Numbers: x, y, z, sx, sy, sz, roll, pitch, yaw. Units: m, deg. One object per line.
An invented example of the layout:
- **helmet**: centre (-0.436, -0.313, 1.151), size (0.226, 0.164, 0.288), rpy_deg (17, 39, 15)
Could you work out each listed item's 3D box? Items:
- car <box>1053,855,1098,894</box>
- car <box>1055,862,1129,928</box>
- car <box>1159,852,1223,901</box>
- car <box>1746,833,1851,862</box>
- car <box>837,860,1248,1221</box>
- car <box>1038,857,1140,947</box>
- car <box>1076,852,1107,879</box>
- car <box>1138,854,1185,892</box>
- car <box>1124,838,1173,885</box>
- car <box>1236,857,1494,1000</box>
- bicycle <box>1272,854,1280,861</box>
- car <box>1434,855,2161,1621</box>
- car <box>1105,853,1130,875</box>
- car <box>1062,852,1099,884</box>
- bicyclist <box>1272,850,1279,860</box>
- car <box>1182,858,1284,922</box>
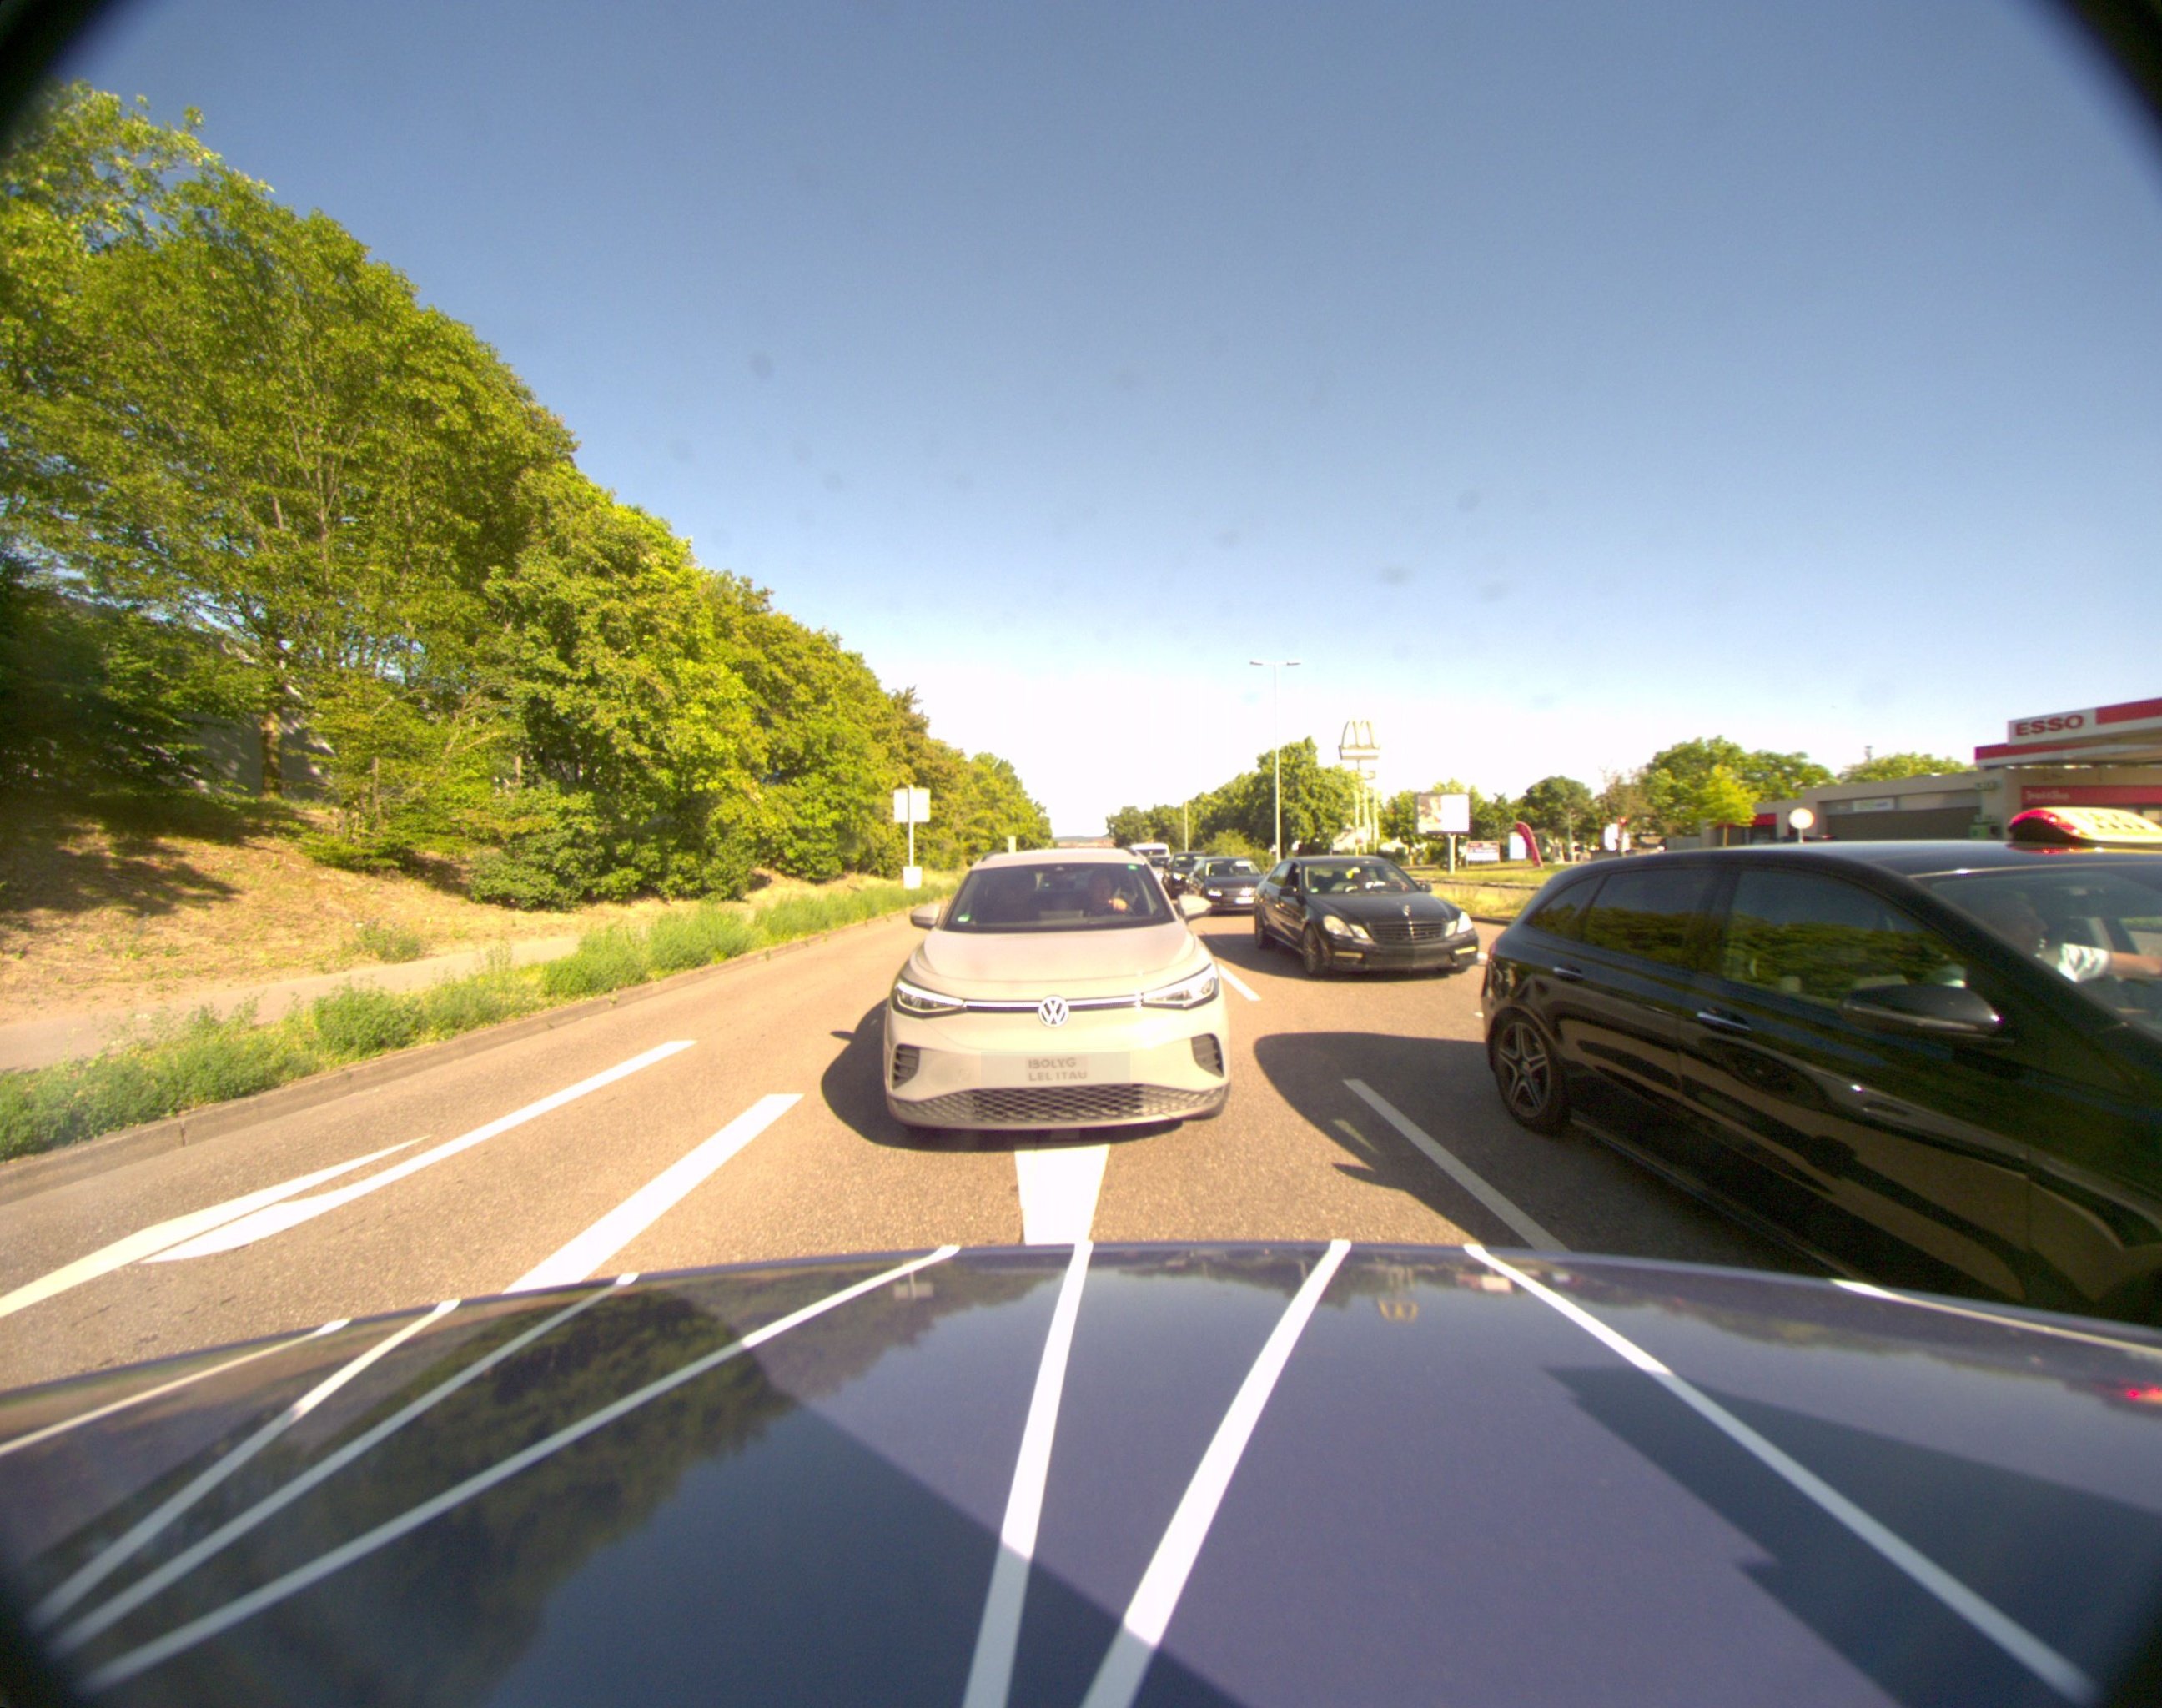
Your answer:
- **car**: centre (-0.224, 0.833, 33.086), size (1.763, 1.482, 4.402), rpy_deg (-2, 1, 0)
- **car**: centre (0.262, 1.037, 20.947), size (1.763, 1.482, 4.402), rpy_deg (-2, 1, 0)
- **car**: centre (3.901, 0.754, 27.525), size (1.674, 1.607, 3.879), rpy_deg (-2, 0, 0)
- **car**: centre (37.492, -0.344, 39.853), size (1.682, 1.401, 3.978), rpy_deg (1, 1, 0)
- **car**: centre (-0.185, 0.890, 5.754), size (1.862, 1.573, 4.403), rpy_deg (-2, 0, 0)
- **car**: centre (0.132, 0.871, 15.779), size (1.763, 1.482, 4.402), rpy_deg (-2, 1, 0)
- **car**: centre (0.600, 0.683, 47.042), size (1.763, 1.482, 4.402), rpy_deg (-2, 1, 0)
- **car**: centre (3.570, 0.787, 34.163), size (1.635, 1.547, 3.777), rpy_deg (-2, 0, 0)
- **car**: centre (3.649, 0.379, 42.151), size (2.019, 2.349, 6.523), rpy_deg (-2, 0, 0)
- **car**: centre (3.551, 0.817, 10.504), size (1.868, 1.430, 4.402), rpy_deg (-2, 1, 0)
- **bicycle**: centre (25.505, 0.494, 99.540), size (0.629, 0.863, 1.741), rpy_deg (-2, 1, 1)
- **car**: centre (3.090, 0.806, 2.493), size (1.763, 1.482, 4.402), rpy_deg (-2, 1, 0)
- **car**: centre (2.928, 0.806, 62.135), size (1.763, 1.607, 4.402), rpy_deg (-2, 1, 0)
- **car**: centre (-0.046, 0.706, 39.875), size (1.763, 1.482, 4.402), rpy_deg (-2, 1, 0)
- **bicyclist**: centre (25.507, 0.157, 99.587), size (0.629, 1.281, 0.700), rpy_deg (-2, 1, 1)
- **car**: centre (3.901, 0.858, 20.204), size (1.797, 1.419, 4.287), rpy_deg (-2, 0, 0)
